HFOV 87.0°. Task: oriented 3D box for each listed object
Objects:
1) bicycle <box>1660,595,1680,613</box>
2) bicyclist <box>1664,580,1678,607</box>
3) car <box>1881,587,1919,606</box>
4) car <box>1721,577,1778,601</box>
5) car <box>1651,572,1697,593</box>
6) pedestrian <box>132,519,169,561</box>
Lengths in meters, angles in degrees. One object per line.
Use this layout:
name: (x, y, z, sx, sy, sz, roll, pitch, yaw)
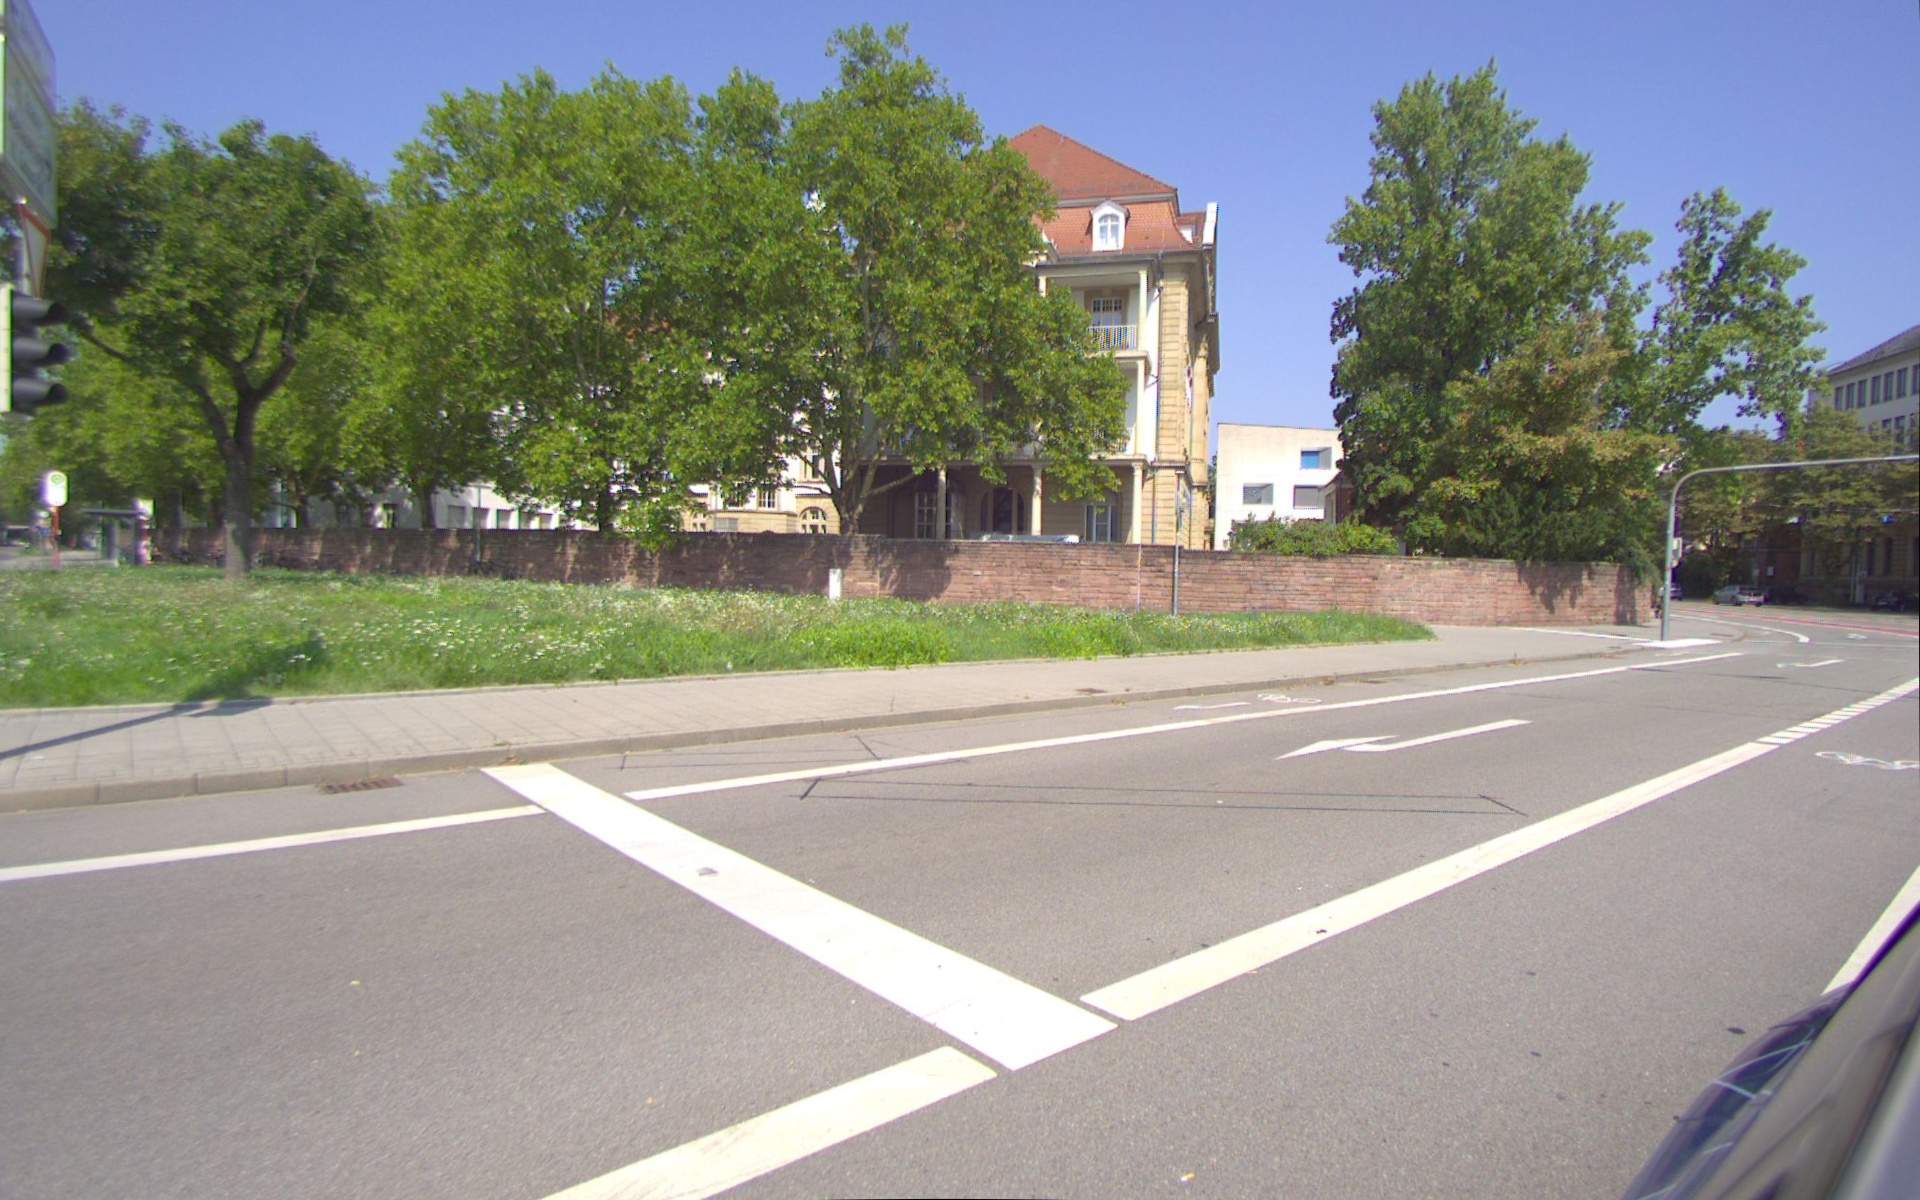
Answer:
bicycle: (34.027, 0.195, 48.497, 1.461, 0.822, 0.436, -1, 3, -43)
bicyclist: (34.109, -0.320, 48.542, 0.531, 1.248, 0.432, 0, 3, -42)
car: (65.653, -0.216, 69.711, 3.010, 1.190, 1.248, 2, 2, 11)
car: (58.472, -0.831, 75.045, 1.861, 1.615, 3.983, 2, 2, 15)
car: (62.232, -1.580, 88.268, 1.972, 1.690, 3.981, 2, 2, 16)
pedestrian: (-40.251, -2.985, 50.317, 1.225, 2.038, 1.061, 3, 2, 31)
